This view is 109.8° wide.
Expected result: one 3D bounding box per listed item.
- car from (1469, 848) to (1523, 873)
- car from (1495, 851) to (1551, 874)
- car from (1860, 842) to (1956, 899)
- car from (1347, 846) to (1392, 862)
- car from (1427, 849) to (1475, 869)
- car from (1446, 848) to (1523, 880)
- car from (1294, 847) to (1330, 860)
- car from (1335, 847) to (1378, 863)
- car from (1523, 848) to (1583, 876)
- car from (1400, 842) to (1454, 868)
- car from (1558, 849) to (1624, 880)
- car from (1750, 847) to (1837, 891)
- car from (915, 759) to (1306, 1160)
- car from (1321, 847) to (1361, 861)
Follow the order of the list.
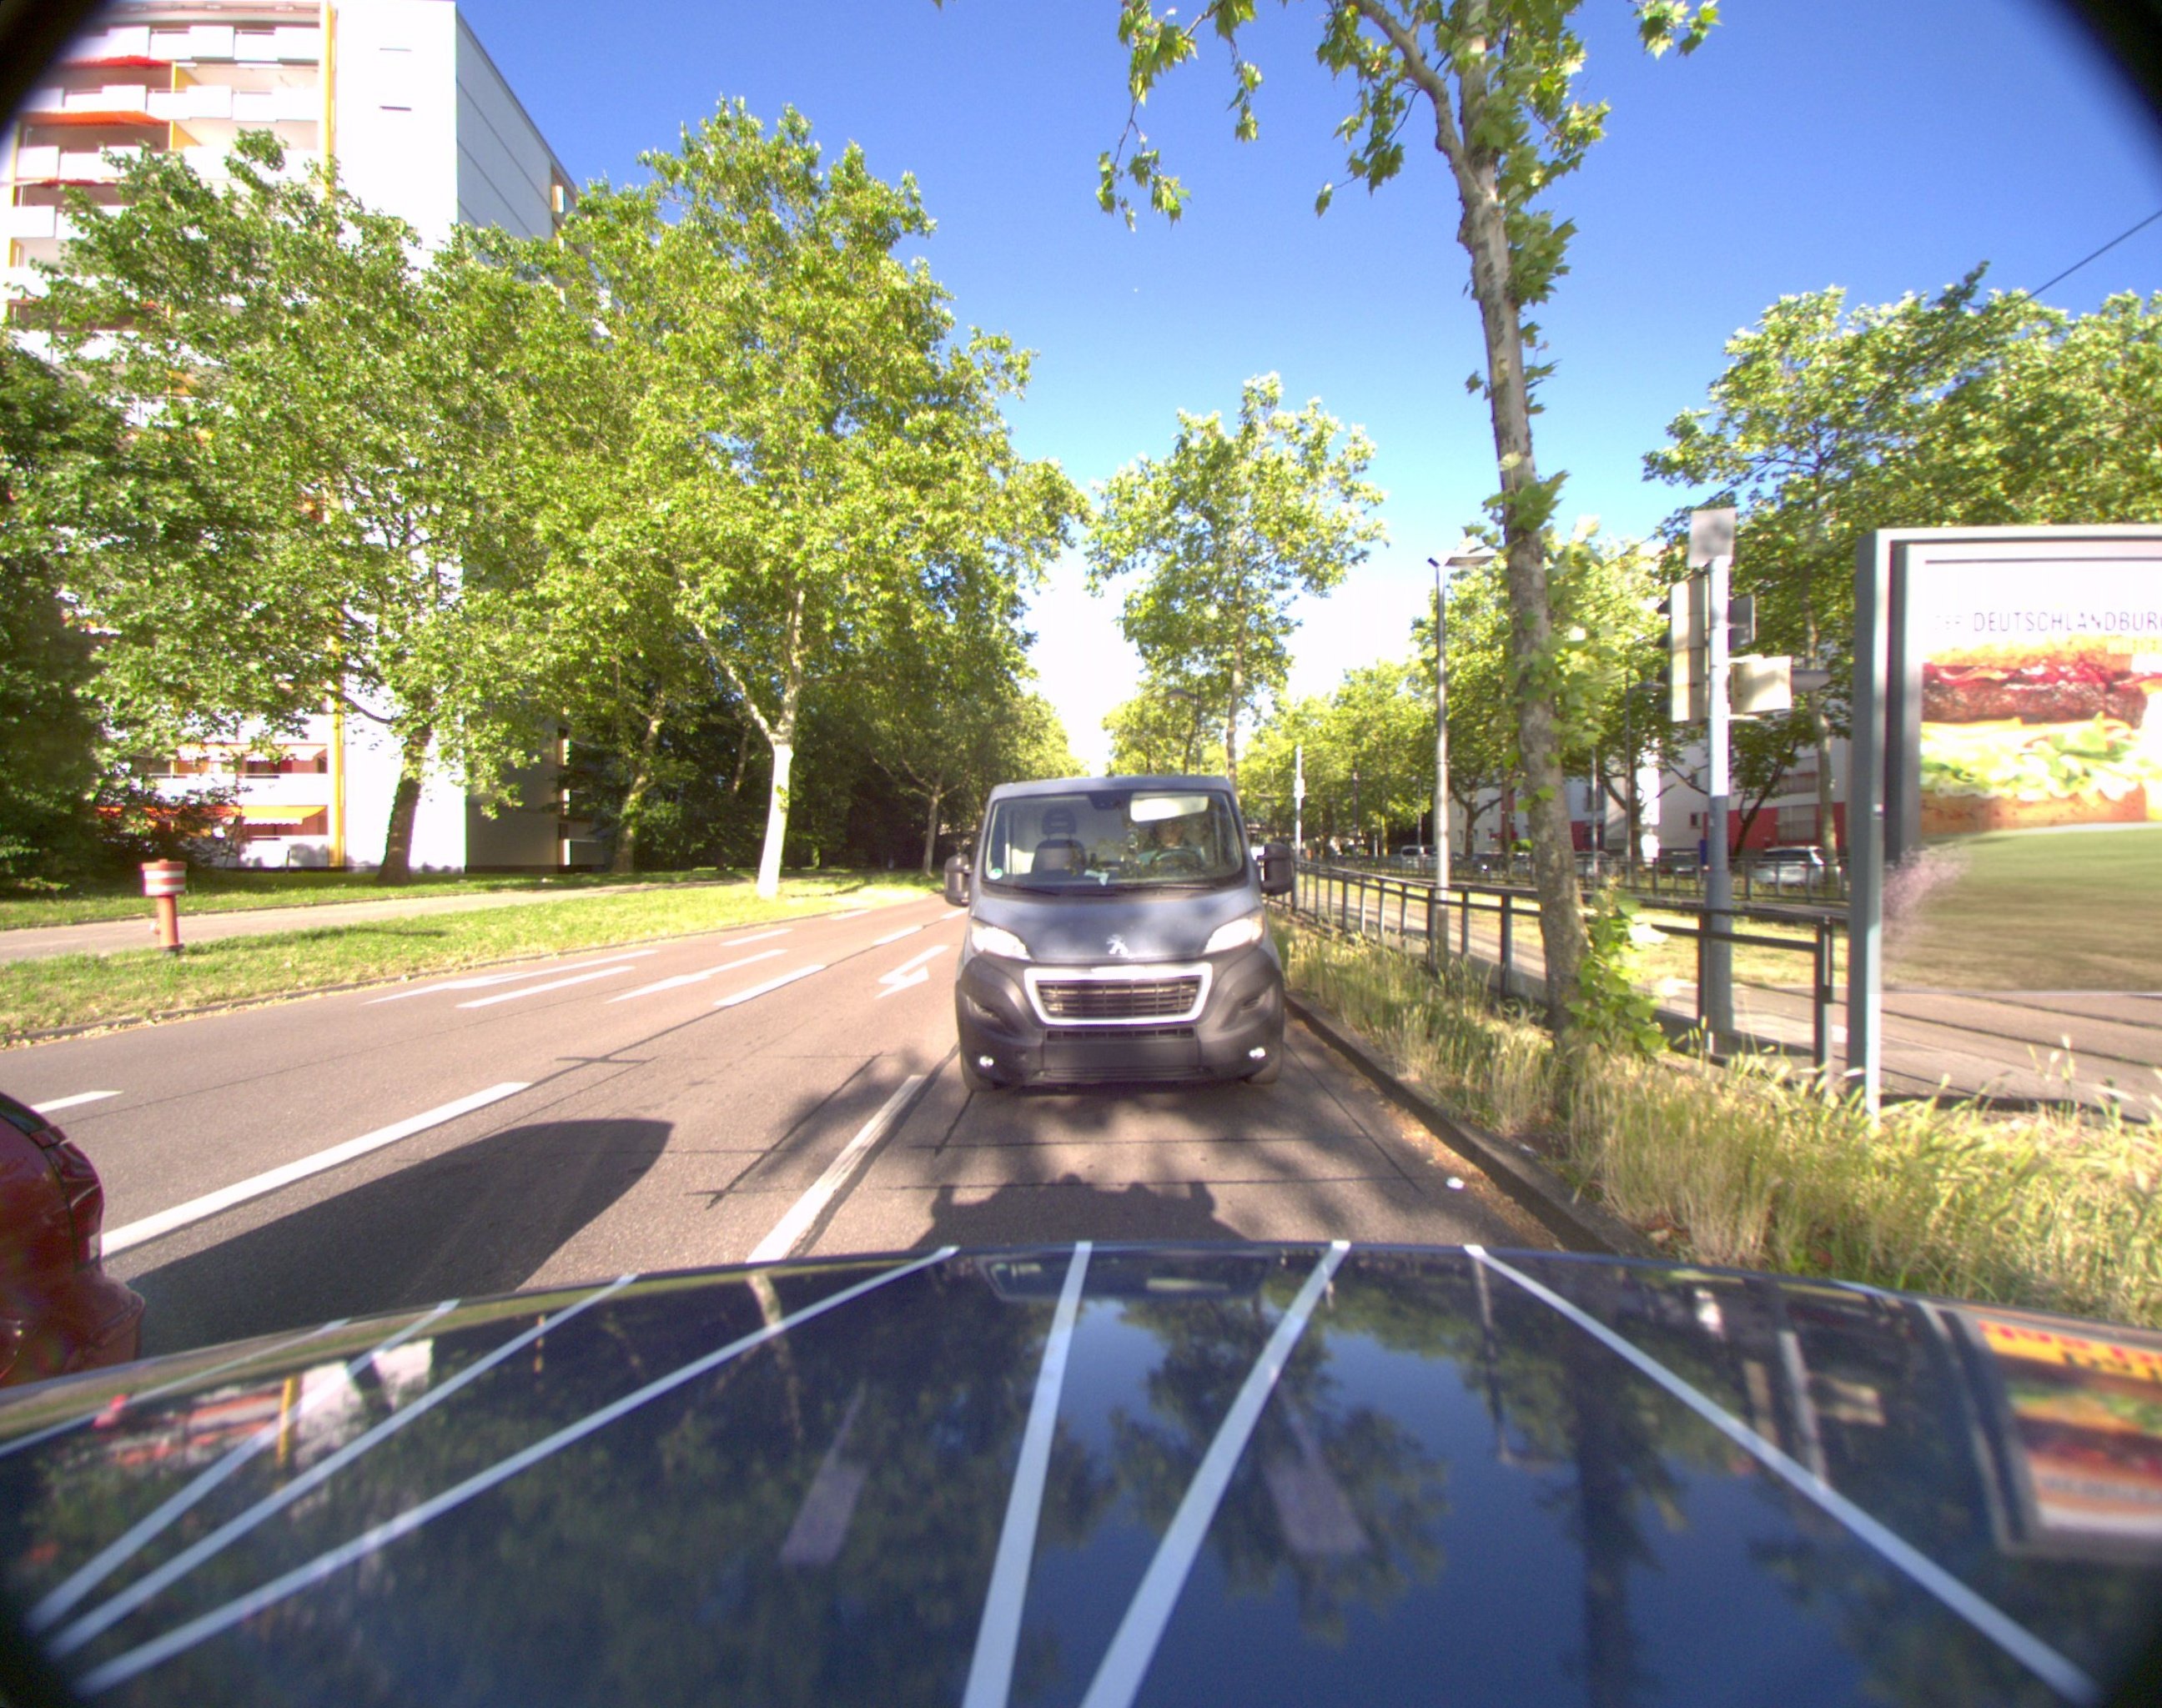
[{"bbox_3d":[25.949,0.408,47.489,3.689,1.440,1.645,-1,1,-39],"label":"car"},{"bbox_3d":[26.192,0.475,44.954,3.689,1.234,1.645,-1,1,-39],"label":"car"},{"bbox_3d":[25.012,0.456,22.954,3.689,1.558,1.683,-1,1,-38],"label":"car"},{"bbox_3d":[26.701,-0.015,70.246,4.376,1.367,1.919,-1,1,-39],"label":"car"},{"bbox_3d":[26.236,0.340,53.892,3.689,1.388,1.645,-1,1,-39],"label":"car"},{"bbox_3d":[19.544,0.458,37.004,1.825,1.412,3.758,-1,0,1],"label":"car"},{"bbox_3d":[27.189,-0.068,89.422,4.376,1.367,1.919,-1,1,-39],"label":"car"},{"bbox_3d":[26.578,0.091,73.272,4.376,1.367,1.919,-1,1,-39],"label":"car"},{"bbox_3d":[25.803,0.423,41.512,3.689,1.440,1.645,-1,1,-39],"label":"car"},{"bbox_3d":[25.952,0.078,56.986,4.376,1.873,1.919,-1,1,-39],"label":"car"},{"bbox_3d":[25.323,0.494,37.684,3.689,1.384,1.645,-1,1,-38],"label":"car"},{"bbox_3d":[25.050,0.488,26.680,3.689,1.425,1.683,-1,1,-38],"label":"car"},{"bbox_3d":[0.192,0.553,6.622,2.040,2.102,5.113,-2,0,1],"label":"car"},{"bbox_3d":[27.232,0.016,79.569,4.376,1.367,1.919,-1,1,-39],"label":"car"}]
